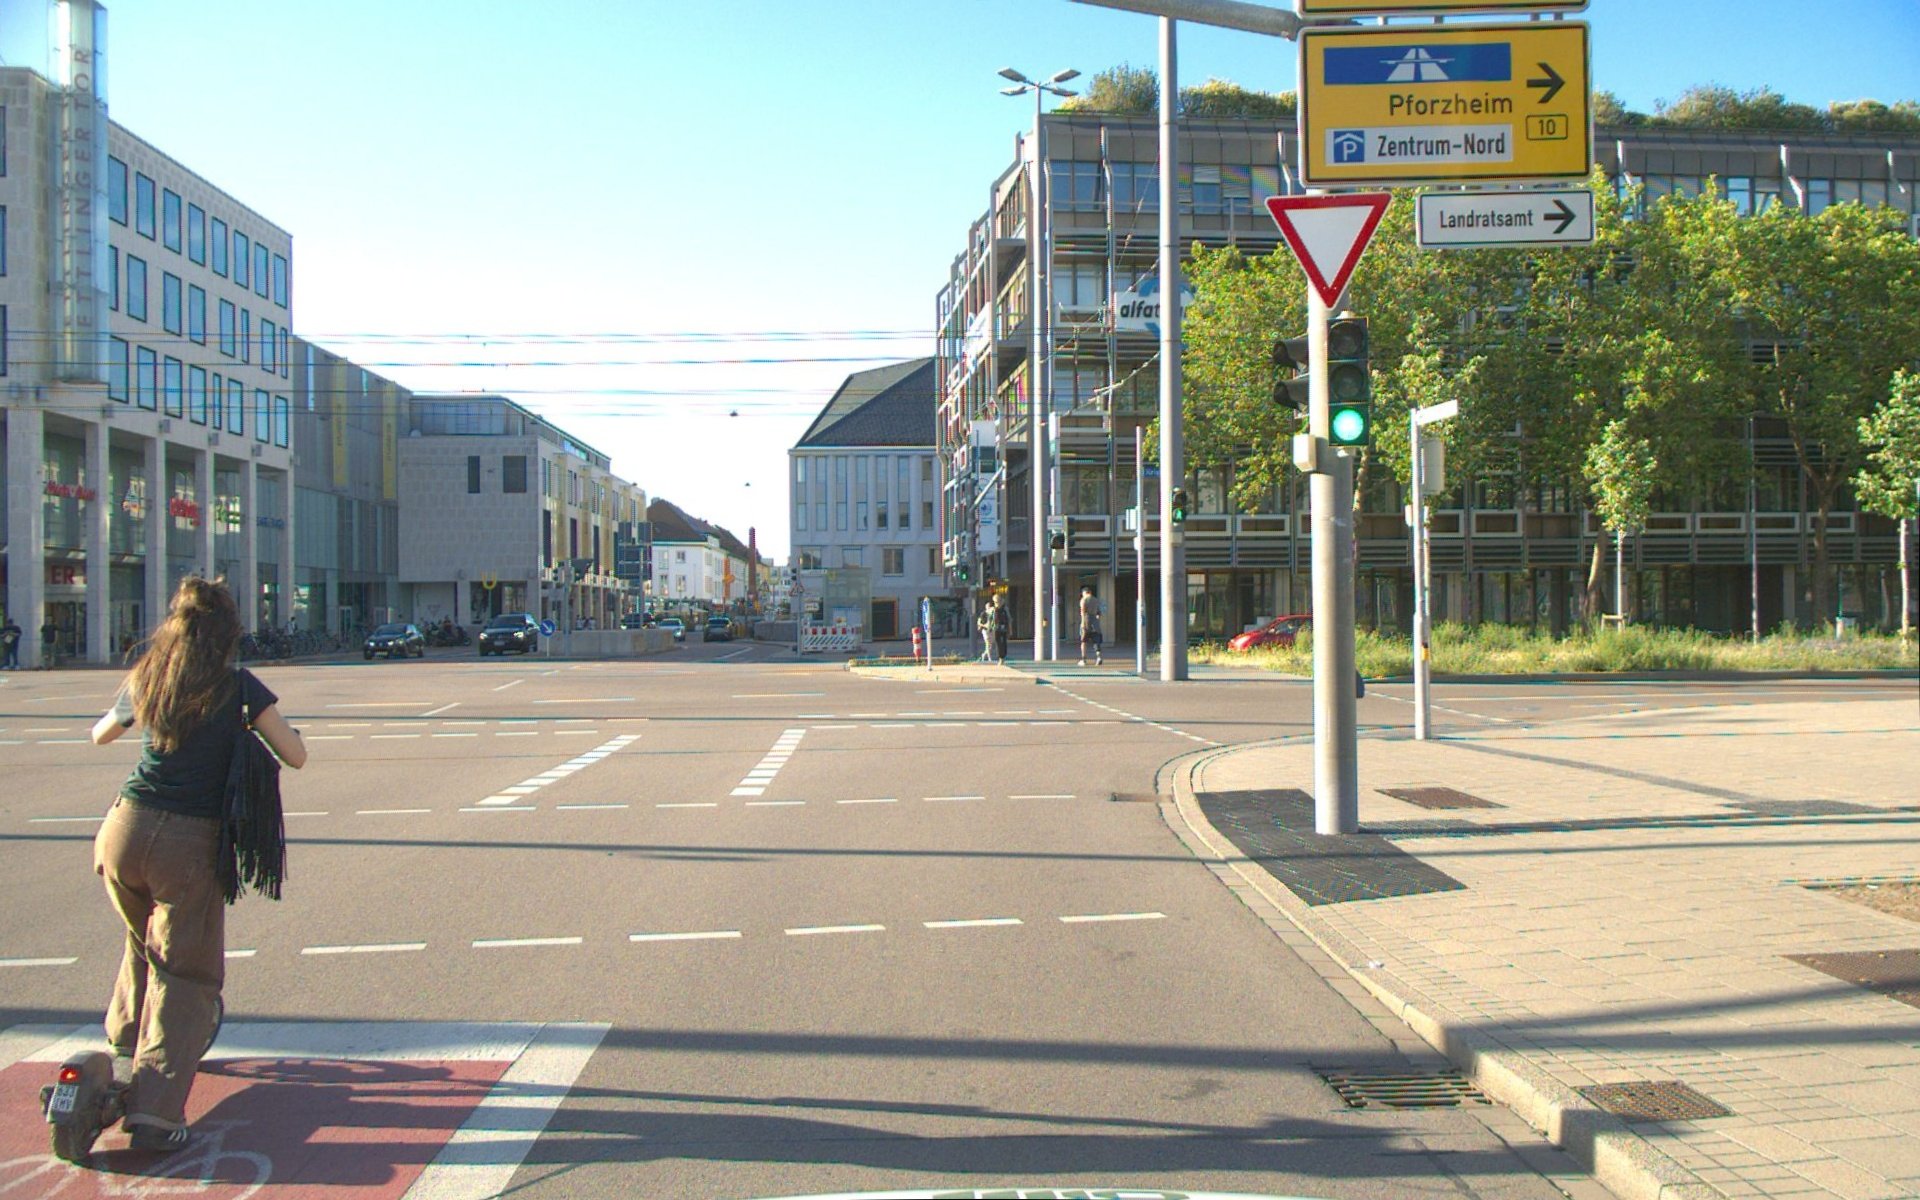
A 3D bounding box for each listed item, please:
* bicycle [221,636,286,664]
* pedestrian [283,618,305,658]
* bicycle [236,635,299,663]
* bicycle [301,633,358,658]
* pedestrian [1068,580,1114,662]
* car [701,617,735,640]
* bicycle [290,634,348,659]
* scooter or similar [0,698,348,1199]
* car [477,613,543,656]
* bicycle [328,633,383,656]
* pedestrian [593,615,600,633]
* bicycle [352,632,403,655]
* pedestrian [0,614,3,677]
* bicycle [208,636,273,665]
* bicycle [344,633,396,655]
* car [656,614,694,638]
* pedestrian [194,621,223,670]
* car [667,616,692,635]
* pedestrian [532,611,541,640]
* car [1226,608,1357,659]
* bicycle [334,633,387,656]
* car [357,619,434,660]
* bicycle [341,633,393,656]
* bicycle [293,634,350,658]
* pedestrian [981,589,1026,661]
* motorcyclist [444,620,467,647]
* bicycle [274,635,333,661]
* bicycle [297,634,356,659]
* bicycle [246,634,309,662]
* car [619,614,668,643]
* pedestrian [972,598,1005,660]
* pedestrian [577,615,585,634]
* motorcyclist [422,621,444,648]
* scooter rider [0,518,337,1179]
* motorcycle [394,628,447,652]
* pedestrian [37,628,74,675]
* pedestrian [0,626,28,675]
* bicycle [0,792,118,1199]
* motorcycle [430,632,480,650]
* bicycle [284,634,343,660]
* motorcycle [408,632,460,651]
[{"bbox_3d":[-29.443,2.068,68.918,2.417,1.130,0.684,-1,-1,-1],"label":"bicycle"},{"bbox_3d":[-33.307,1.889,82.711,0.933,2.017,1.000,0,-1,-25],"label":"pedestrian"},{"bbox_3d":[-29.421,2.077,70.284,2.416,1.130,0.684,-1,-1,1],"label":"bicycle"},{"bbox_3d":[-30.300,2.185,79.459,2.417,1.130,0.835,-1,-1,0],"label":"bicycle"},{"bbox_3d":[2.874,0.452,36.337,0.839,1.774,0.738,-1,0,-9],"label":"pedestrian"},{"bbox_3d":[-15.709,1.849,107.614,1.898,1.475,4.258,0,-1,-4],"label":"car"},{"bbox_3d":[-29.632,2.153,76.440,2.417,1.130,0.684,-1,-1,0],"label":"bicycle"},{"bbox_3d":[-2.211,0.903,4.473,0.629,1.196,1.482,1,-1,-4],"label":"scooter or similar"},{"bbox_3d":[-18.396,1.392,67.797,1.900,1.707,4.289,-1,-1,-5],"label":"car"},{"bbox_3d":[-30.259,2.231,82.798,2.417,1.130,0.835,-1,-1,0],"label":"bicycle"},{"bbox_3d":[-28.571,1.893,130.107,0.479,1.380,0.563,1,-1,-7],"label":"pedestrian"},{"bbox_3d":[-30.379,2.263,86.265,2.417,1.130,0.660,-1,-1,0],"label":"bicycle"},{"bbox_3d":[-33.270,1.548,56.216,1.055,2.166,1.080,0,-1,-44],"label":"pedestrian"},{"bbox_3d":[-29.398,2.071,67.573,2.354,1.132,0.658,-1,-1,-1],"label":"bicycle"},{"bbox_3d":[-30.326,2.261,85.026,2.417,1.130,0.631,-1,-1,0],"label":"bicycle"},{"bbox_3d":[-21.317,1.970,123.855,2.131,1.722,5.611,0,-1,-3],"label":"car"},{"bbox_3d":[-27.717,1.671,61.013,0.736,1.770,0.756,0,-1,-3],"label":"pedestrian"},{"bbox_3d":[-28.950,2.647,170.797,2.131,1.906,5.609,0,-1,-5],"label":"car"},{"bbox_3d":[-29.530,1.782,115.351,0.606,2.049,0.476,1,-1,-15],"label":"pedestrian"},{"bbox_3d":[10.688,1.102,53.474,3.789,1.512,1.845,-1,-4,-2],"label":"car"},{"bbox_3d":[-30.282,2.230,83.612,2.417,1.130,0.660,-1,-1,0],"label":"bicycle"},{"bbox_3d":[-23.540,1.615,69.133,1.899,1.608,4.292,-1,0,-3],"label":"car"},{"bbox_3d":[-30.255,2.245,84.360,2.417,1.130,0.660,-1,-1,0],"label":"bicycle"},{"bbox_3d":[-30.189,2.171,78.209,2.417,1.130,0.684,-1,-1,0],"label":"bicycle"},{"bbox_3d":[0.975,0.561,37.176,0.879,1.576,0.922,-1,1,-7],"label":"pedestrian"},{"bbox_3d":[-29.524,1.959,96.826,1.115,1.602,0.915,1,-1,-8],"label":"motorcyclist"},{"bbox_3d":[-29.529,2.138,74.440,2.417,1.130,0.593,-1,-1,0],"label":"bicycle"},{"bbox_3d":[-29.649,2.163,77.388,2.417,1.130,0.835,-1,-1,0],"label":"bicycle"},{"bbox_3d":[-29.341,2.067,71.094,2.417,1.130,0.684,-1,-1,0],"label":"bicycle"},{"bbox_3d":[-19.757,1.783,103.400,2.130,1.722,5.485,0,-1,-1],"label":"car"},{"bbox_3d":[0.908,0.907,52.361,0.991,1.944,1.050,0,0,-1],"label":"pedestrian"},{"bbox_3d":[-28.121,1.812,122.687,0.479,1.380,0.563,1,-1,-7],"label":"pedestrian"},{"bbox_3d":[-29.756,1.941,93.338,1.017,1.497,0.915,1,-1,-8],"label":"motorcyclist"},{"bbox_3d":[-2.204,0.595,4.506,0.629,1.571,1.116,1,-1,-4],"label":"scooter rider"},{"bbox_3d":[-29.691,2.206,90.991,2.617,1.239,0.915,1,-1,-8],"label":"motorcycle"},{"bbox_3d":[-31.114,1.770,56.902,0.827,1.599,0.939,-1,-1,44],"label":"pedestrian"},{"bbox_3d":[-33.050,1.757,57.474,1.000,1.680,0.933,0,-1,-43],"label":"pedestrian"},{"bbox_3d":[-1.968,0.934,2.341,0.692,1.113,1.799,-1,0,-2],"label":"bicycle"},{"bbox_3d":[-29.554,2.392,96.804,2.617,1.013,0.915,1,-1,-8],"label":"motorcycle"},{"bbox_3d":[-29.557,2.153,75.665,2.417,1.130,0.684,-1,-1,0],"label":"bicycle"},{"bbox_3d":[-29.683,2.348,93.354,2.617,1.013,0.915,1,-1,-8],"label":"motorcycle"}]
